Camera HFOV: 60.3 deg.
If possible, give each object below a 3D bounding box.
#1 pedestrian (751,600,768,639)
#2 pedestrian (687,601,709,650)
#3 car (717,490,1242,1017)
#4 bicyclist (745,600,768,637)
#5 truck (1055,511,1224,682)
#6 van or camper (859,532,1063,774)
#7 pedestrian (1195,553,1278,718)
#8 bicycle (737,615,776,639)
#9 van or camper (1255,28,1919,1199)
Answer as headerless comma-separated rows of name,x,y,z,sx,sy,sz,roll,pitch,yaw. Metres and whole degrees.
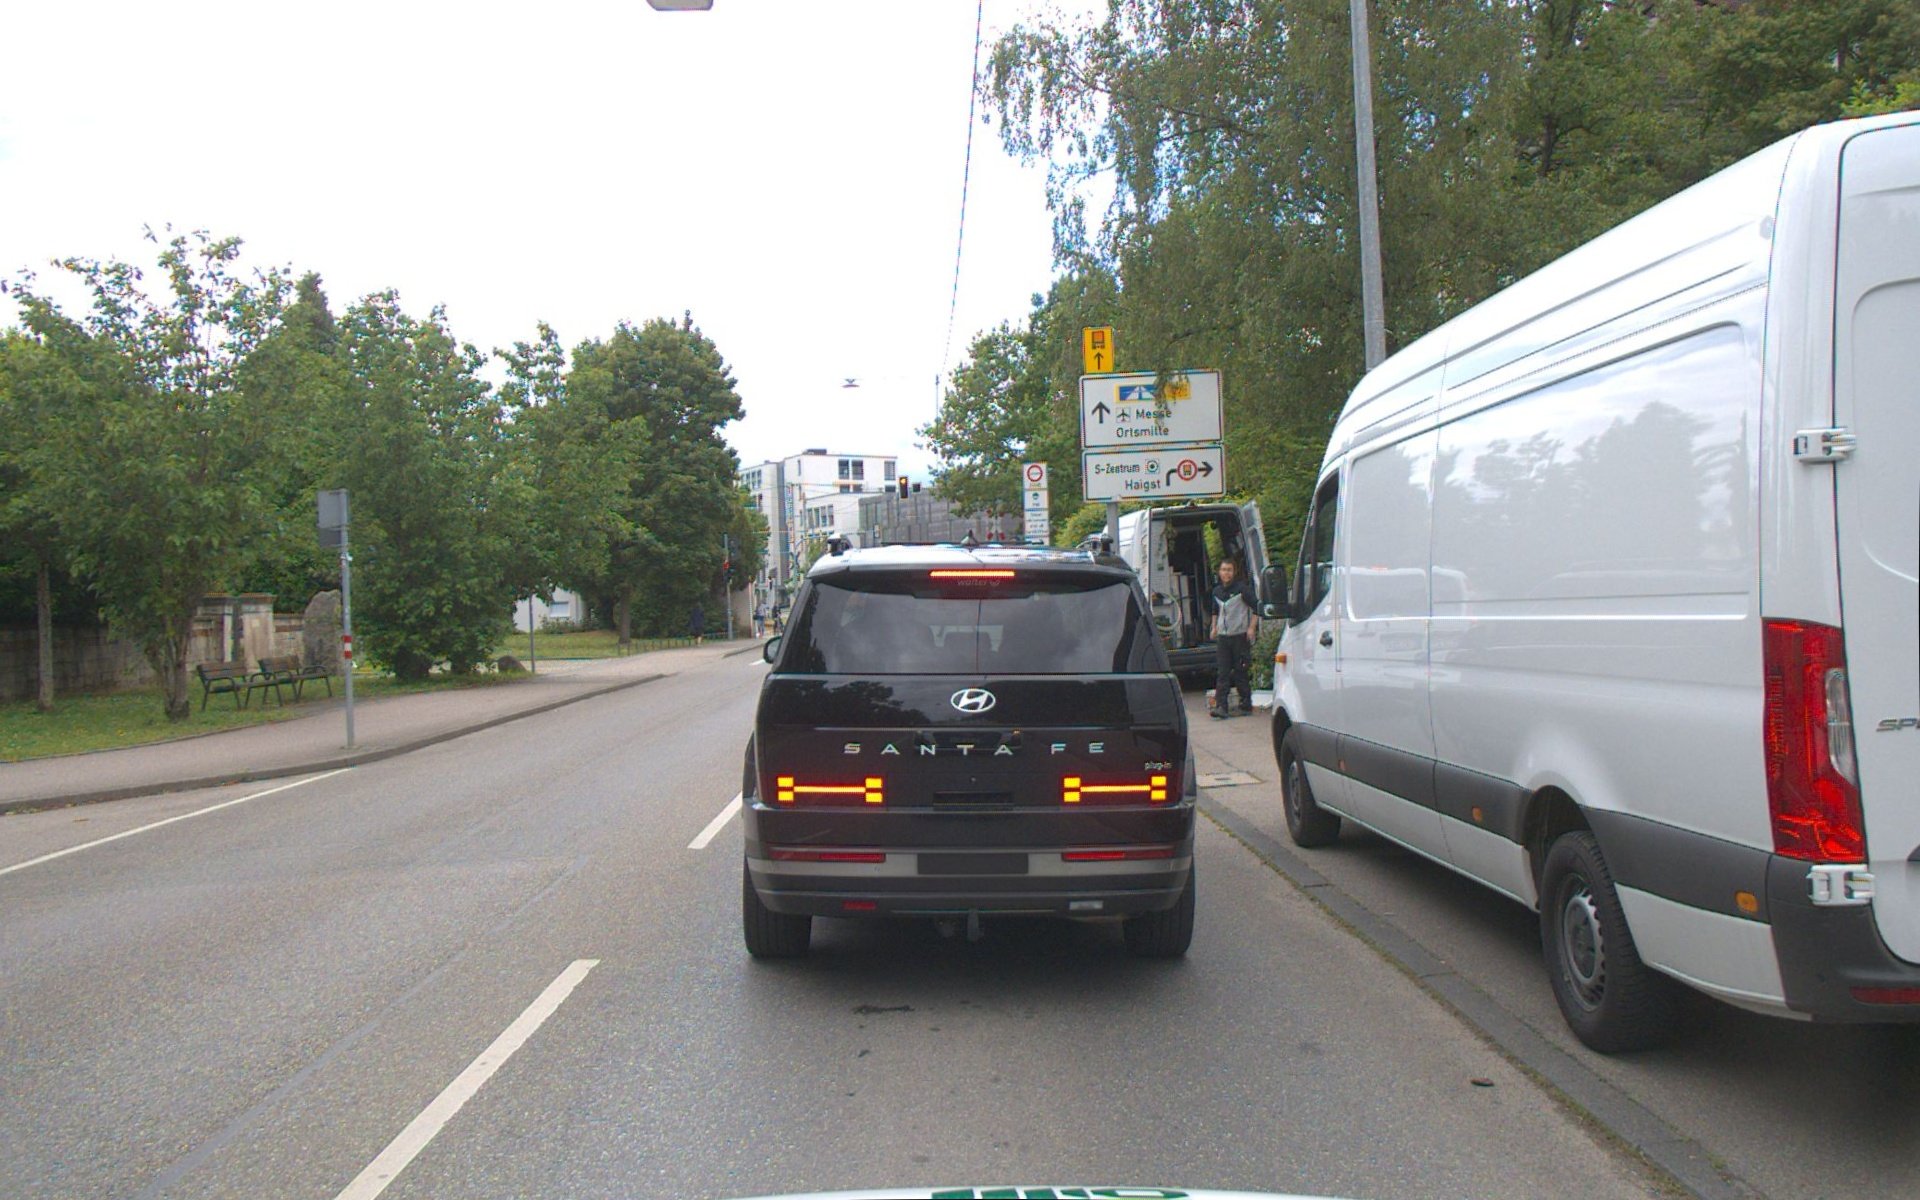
pedestrian,-9.146,0.875,75.394,0.724,1.745,0.791,-2,0,-8
pedestrian,-9.487,0.931,59.895,0.724,1.745,0.791,-2,0,-8
car,0.042,0.534,7.836,1.851,1.851,3.999,0,0,-1
bicyclist,-9.585,0.866,77.832,0.812,1.721,0.717,1,-1,30
truck,3.003,-0.035,28.821,1.904,2.606,5.211,-3,0,-4
van or camper,-0.020,0.457,16.356,1.719,2.049,3.999,-2,0,-1
pedestrian,3.164,0.402,18.879,0.741,1.828,0.873,-2,0,20
bicycle,-9.592,1.261,77.824,1.738,1.112,0.697,1,-1,31
van or camper,2.900,0.003,7.052,1.953,2.665,6.540,-2,0,-1
